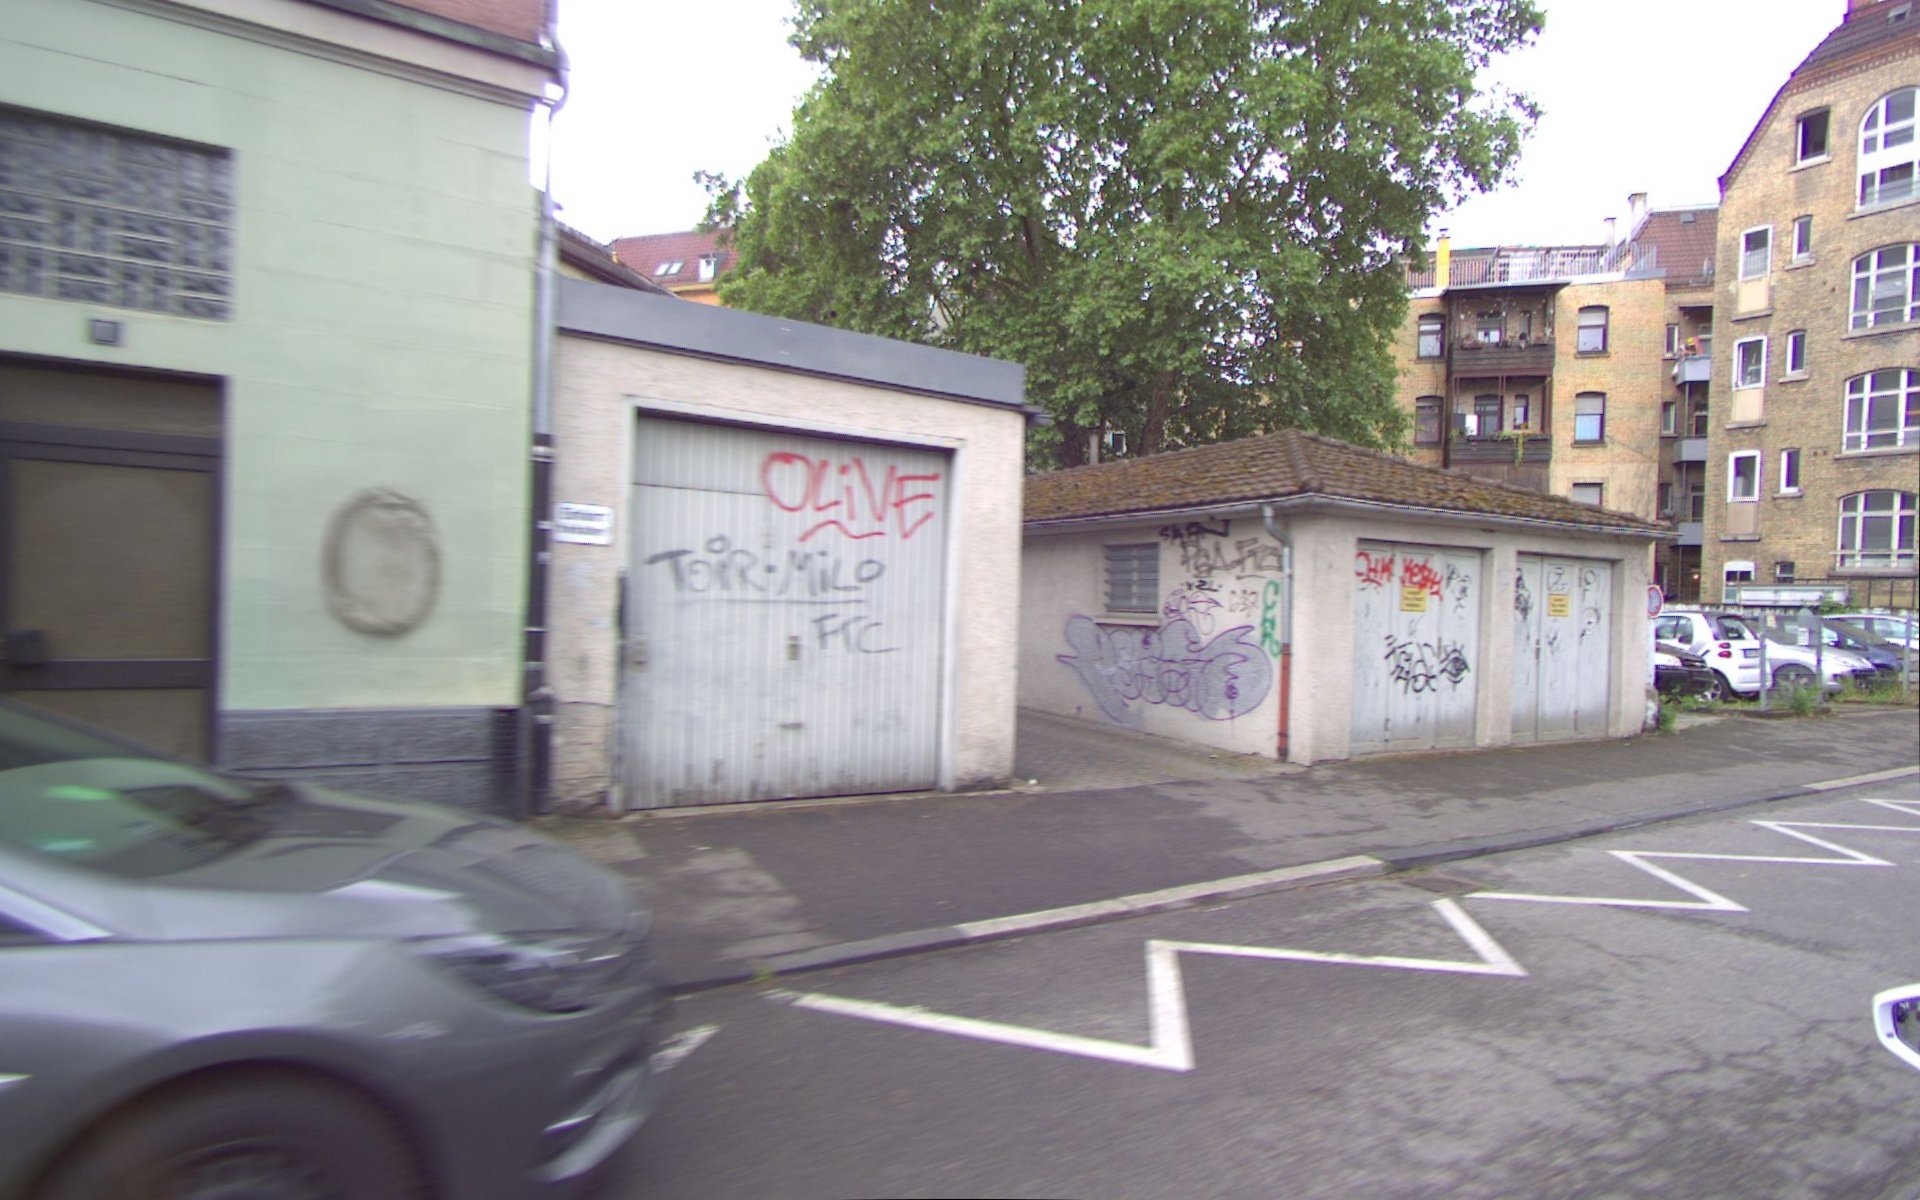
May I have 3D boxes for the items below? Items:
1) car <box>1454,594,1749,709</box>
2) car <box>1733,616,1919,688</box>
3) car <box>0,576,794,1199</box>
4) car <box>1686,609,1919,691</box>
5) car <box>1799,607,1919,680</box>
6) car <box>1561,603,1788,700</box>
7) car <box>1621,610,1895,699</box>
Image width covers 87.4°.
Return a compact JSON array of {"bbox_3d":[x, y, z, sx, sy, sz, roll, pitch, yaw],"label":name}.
[{"bbox_3d":[10.512,0.798,16.735,1.830,1.665,3.747,1,-1,-28],"label":"car"},{"bbox_3d":[19.183,1.079,21.752,1.528,1.433,3.582,1,-1,-28],"label":"car"},{"bbox_3d":[-2.614,0.719,2.097,4.077,1.506,1.869,1,2,-29],"label":"car"},{"bbox_3d":[17.271,0.966,20.496,1.830,1.524,3.582,1,-1,-28],"label":"car"},{"bbox_3d":[21.741,0.987,22.968,1.667,1.633,3.582,1,-1,-28],"label":"car"},{"bbox_3d":[12.739,0.881,18.029,1.830,1.586,2.836,1,-1,-28],"label":"car"},{"bbox_3d":[15.079,0.973,19.179,1.830,1.524,3.708,1,-1,-28],"label":"car"}]
